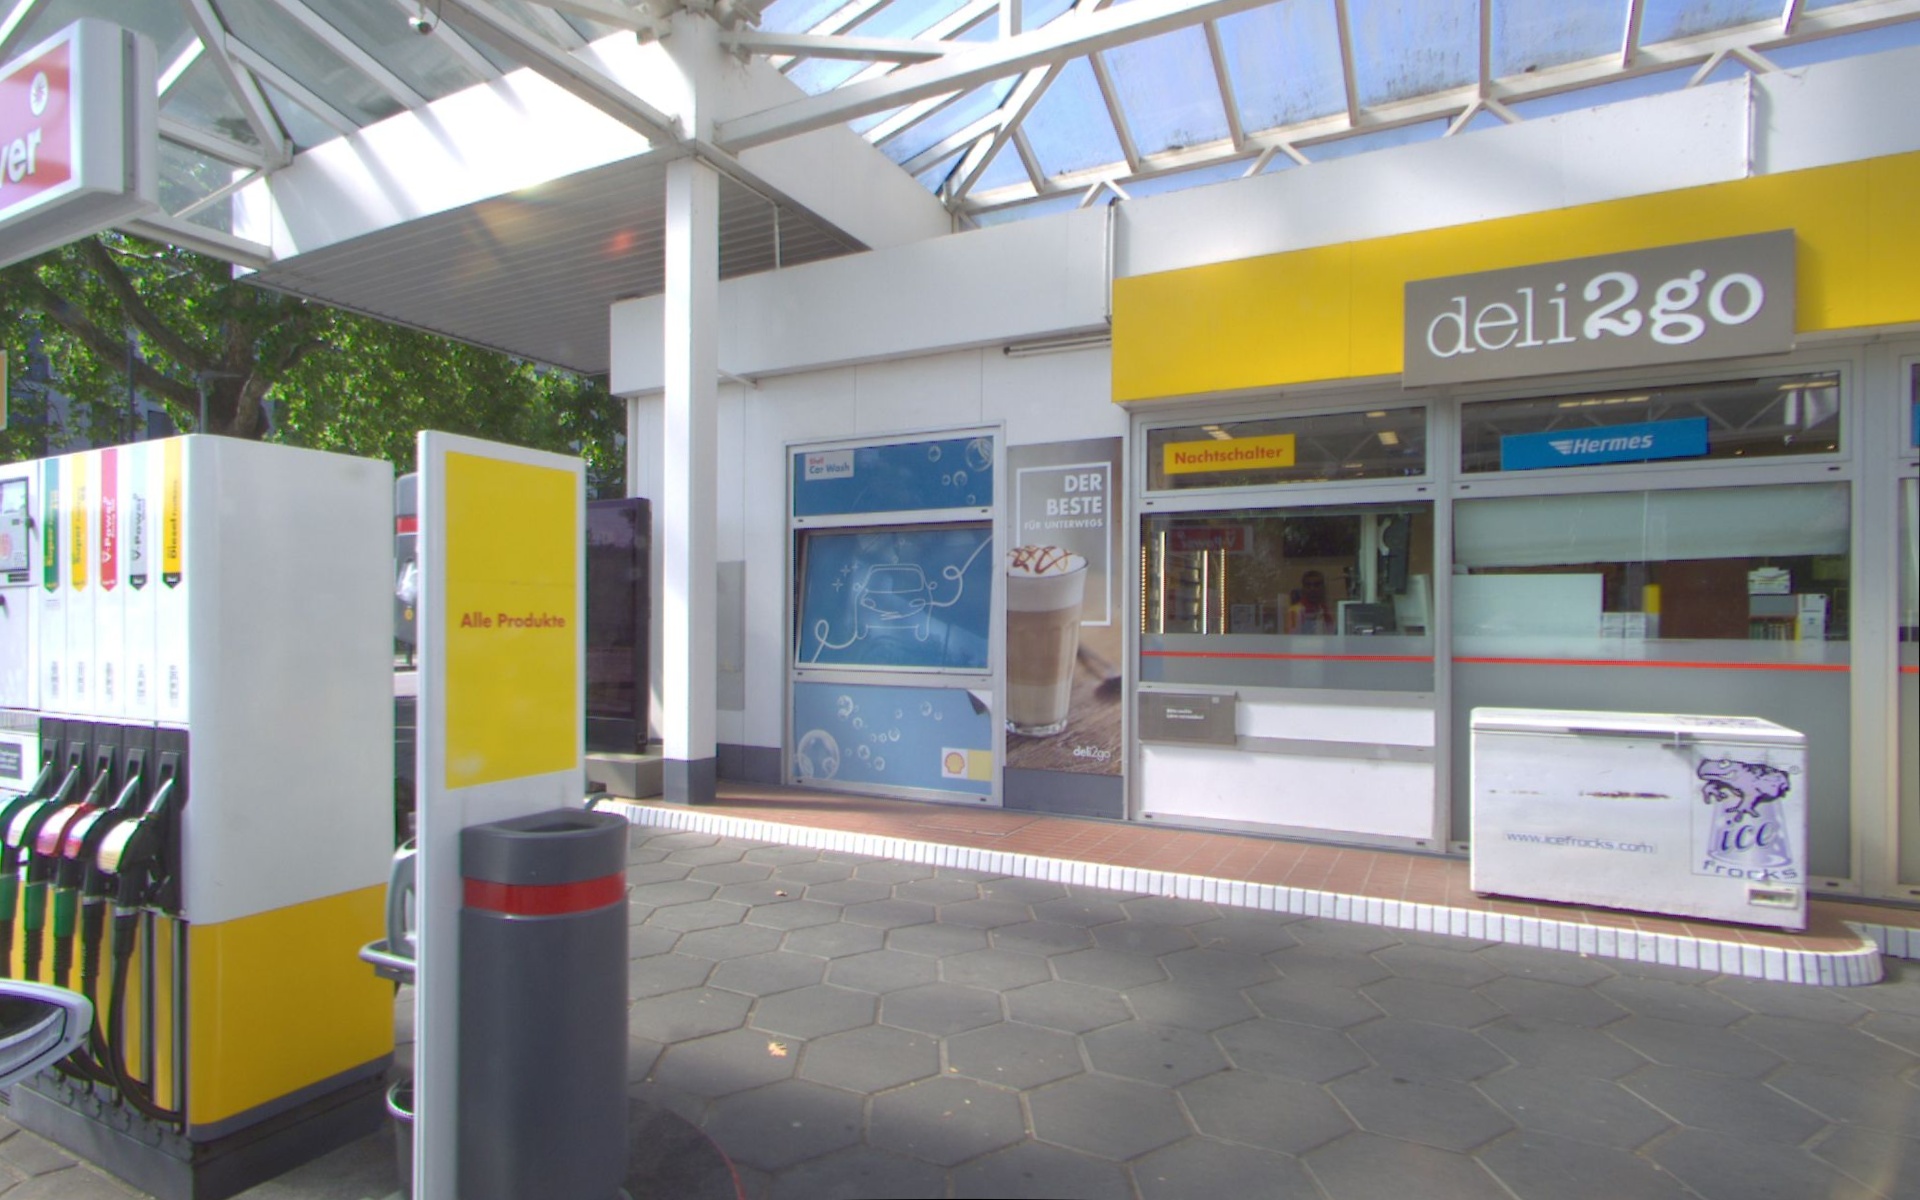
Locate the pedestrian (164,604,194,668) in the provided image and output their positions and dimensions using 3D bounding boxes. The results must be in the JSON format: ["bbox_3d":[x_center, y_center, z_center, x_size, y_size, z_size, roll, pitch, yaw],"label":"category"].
[{"bbox_3d":[-21.712,1.001,27.842,0.516,1.758,0.498,0,0,31],"label":"pedestrian"}]

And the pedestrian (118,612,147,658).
[{"bbox_3d":[-22.221,0.932,26.887,0.400,1.236,0.498,0,-1,31],"label":"pedestrian"}]

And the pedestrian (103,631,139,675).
[{"bbox_3d":[-22.416,1.396,26.748,0.517,1.152,0.626,0,-1,34],"label":"pedestrian"}]

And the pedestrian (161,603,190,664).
[{"bbox_3d":[-22.763,0.960,29.049,0.516,1.758,0.498,0,0,31],"label":"pedestrian"}]
